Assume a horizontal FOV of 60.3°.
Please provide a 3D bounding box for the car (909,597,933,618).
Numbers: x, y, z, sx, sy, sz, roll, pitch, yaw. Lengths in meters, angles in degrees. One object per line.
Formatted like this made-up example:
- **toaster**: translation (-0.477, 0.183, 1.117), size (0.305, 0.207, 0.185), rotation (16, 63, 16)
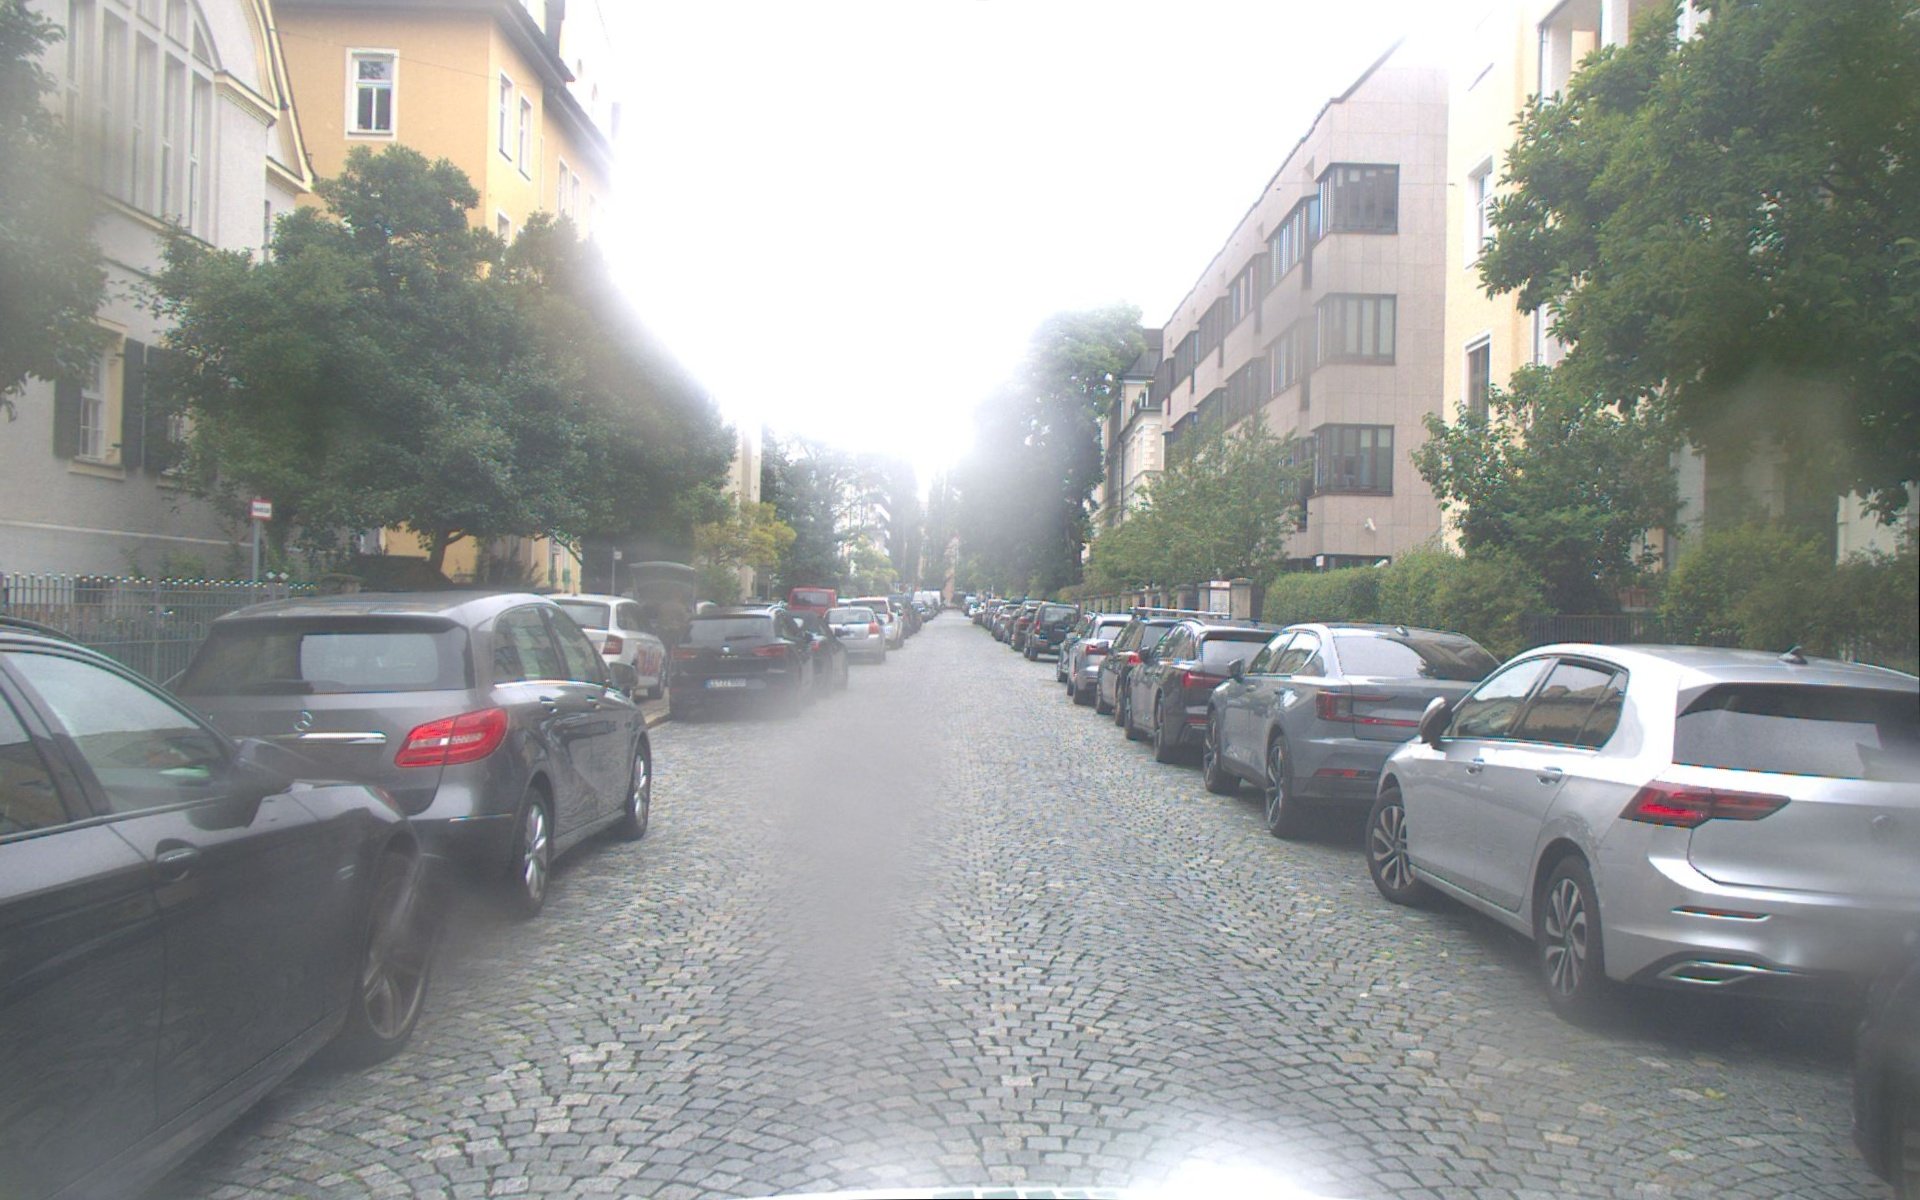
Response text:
- **car**: translation (-3.137, 0.627, 133.351), size (1.835, 1.607, 4.253), rotation (-2, 0, -2)

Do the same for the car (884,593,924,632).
- **car**: translation (-2.965, 0.645, 88.303), size (1.953, 1.950, 5.176), rotation (-2, 0, -1)

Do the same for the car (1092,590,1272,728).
- **car**: translation (3.014, 0.758, 23.356), size (1.855, 1.682, 4.293), rotation (3, 0, -1)

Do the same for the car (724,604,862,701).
- **car**: translation (-2.751, 0.829, 28.188), size (1.777, 1.480, 4.913), rotation (-1, 0, 1)

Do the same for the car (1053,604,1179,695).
- **car**: translation (3.068, 0.931, 33.516), size (1.953, 1.579, 5.014), rotation (4, 0, 0)

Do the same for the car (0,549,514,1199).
- **car**: translation (-2.580, 0.665, 3.856), size (1.832, 1.496, 5.132), rotation (0, 0, -2)

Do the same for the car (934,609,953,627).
- **car**: translation (-1.818, 1.953, 178.787), size (1.953, 1.758, 3.999), rotation (3, -1, -1)

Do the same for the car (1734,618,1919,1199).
- **car**: translation (3.144, 0.870, 2.101), size (1.866, 1.529, 5.105), rotation (4, 0, 0)

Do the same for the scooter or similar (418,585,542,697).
- **scooter or similar**: translation (-7.065, 0.574, 24.496), size (1.040, 1.550, 2.634), rotation (1, 0, 0)

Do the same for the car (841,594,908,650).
- **car**: translation (-2.905, 0.741, 57.283), size (1.965, 1.840, 5.174), rotation (-1, 0, 1)

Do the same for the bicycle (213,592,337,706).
- **bicycle**: translation (-8.189, 0.561, 19.866), size (0.593, 1.281, 2.060), rotation (2, 0, 0)

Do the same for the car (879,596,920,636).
- **car**: translation (-2.838, 0.735, 76.743), size (1.828, 1.765, 4.401), rotation (-1, 0, -3)

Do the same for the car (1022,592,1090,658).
- **car**: translation (2.848, 0.724, 49.696), size (1.586, 1.781, 3.886), rotation (4, 0, -2)

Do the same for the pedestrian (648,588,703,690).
- **pedestrian**: translation (-4.788, 0.655, 27.856), size (0.750, 1.679, 0.582), rotation (2, 0, 1)

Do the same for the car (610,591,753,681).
- **car**: translation (-4.987, 0.617, 30.216), size (1.739, 1.441, 4.561), rotation (3, 0, 1)

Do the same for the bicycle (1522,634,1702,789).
- **bicycle**: translation (5.607, 0.934, 14.316), size (0.570, 1.216, 1.642), rotation (2, 0, -14)

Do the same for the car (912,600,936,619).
- **car**: translation (-3.285, 0.905, 150.955), size (1.834, 1.607, 4.209), rotation (3, 0, 3)

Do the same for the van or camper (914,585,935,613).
- **van or camper**: translation (-3.576, -0.086, 165.879), size (1.953, 2.698, 4.000), rotation (-1, 0, 0)

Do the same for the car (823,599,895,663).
- **car**: translation (-2.633, 0.784, 43.916), size (1.679, 1.589, 4.390), rotation (-1, 0, -1)

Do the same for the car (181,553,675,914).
- **car**: translation (-2.752, 0.607, 9.553), size (1.705, 1.614, 4.189), rotation (0, 0, -3)

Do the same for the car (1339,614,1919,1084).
- **car**: translation (3.184, 0.877, 7.768), size (1.720, 1.485, 4.480), rotation (4, 0, 0)

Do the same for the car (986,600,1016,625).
- **car**: translation (2.618, 0.799, 107.451), size (1.799, 1.516, 4.421), rotation (4, 0, 1)

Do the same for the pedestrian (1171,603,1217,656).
- **pedestrian**: translation (6.821, 0.854, 48.281), size (1.191, 1.519, 1.130), rotation (-1, 0, 2)

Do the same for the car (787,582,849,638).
- **car**: translation (-5.342, 0.372, 62.902), size (1.954, 1.964, 5.329), rotation (3, 0, -1)

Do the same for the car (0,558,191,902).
- **car**: translation (-5.038, 0.526, 6.643), size (1.804, 1.491, 4.389), rotation (2, 0, 0)

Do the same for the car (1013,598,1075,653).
- **car**: translation (2.904, 0.856, 58.169), size (1.823, 1.731, 4.812), rotation (4, 0, 0)

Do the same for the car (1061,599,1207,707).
- **car**: translation (2.865, 0.838, 28.265), size (1.953, 1.579, 4.986), rotation (3, 0, 0)

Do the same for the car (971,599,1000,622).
- **car**: translation (1.917, 0.782, 125.148), size (1.836, 1.529, 4.509), rotation (4, 0, -2)

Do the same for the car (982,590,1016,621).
- **car**: translation (2.648, 0.391, 113.162), size (1.836, 1.962, 5.161), rotation (4, 0, -2)

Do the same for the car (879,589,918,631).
- **car**: translation (-3.009, 0.488, 81.880), size (1.835, 1.950, 4.826), rotation (-1, 0, -1)

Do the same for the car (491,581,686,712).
- **car**: translation (-5.043, 0.595, 23.057), size (1.704, 1.563, 4.466), rotation (3, 0, -1)

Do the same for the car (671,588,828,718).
- **car**: translation (-2.841, 0.676, 23.195), size (1.704, 1.631, 4.536), rotation (0, 0, -1)

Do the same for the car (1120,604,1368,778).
- **car**: translation (2.932, 0.873, 18.151), size (1.782, 1.514, 5.049), rotation (4, 0, 0)

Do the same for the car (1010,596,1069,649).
- **car**: translation (3.019, 0.830, 63.611), size (1.753, 1.827, 4.508), rotation (5, 0, -2)

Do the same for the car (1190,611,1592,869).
- **car**: translation (3.101, 0.914, 13.018), size (1.844, 1.514, 4.814), rotation (4, 0, 0)

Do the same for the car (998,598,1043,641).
- **car**: translation (2.693, 0.865, 74.688), size (1.835, 1.765, 4.892), rotation (3, 0, 1)
